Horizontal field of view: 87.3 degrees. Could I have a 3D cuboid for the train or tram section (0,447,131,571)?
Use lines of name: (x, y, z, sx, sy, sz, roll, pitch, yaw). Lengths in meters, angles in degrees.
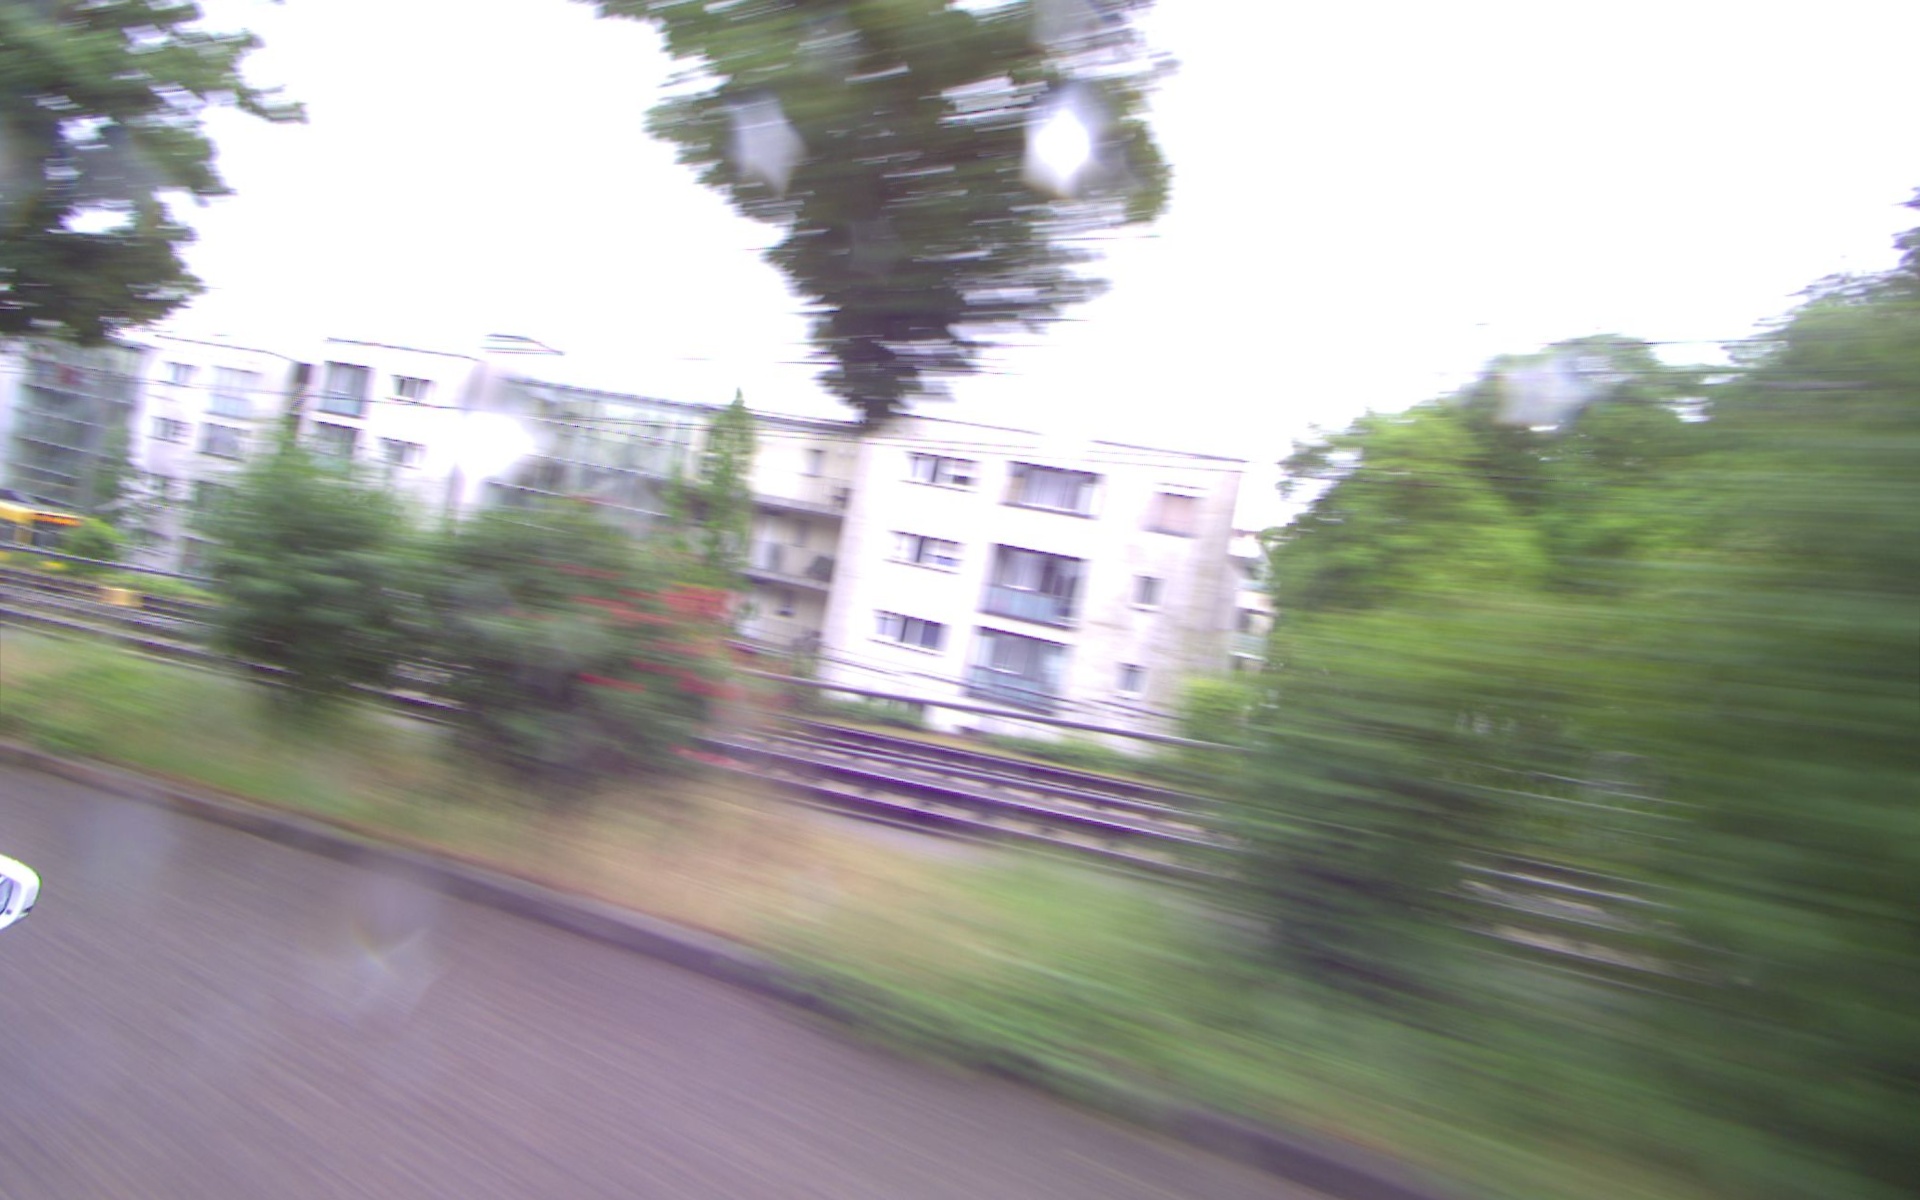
train or tram section: (-42.311, -4.450, 41.552, 18.925, 3.992, 3.344, 8, -2, 21)
